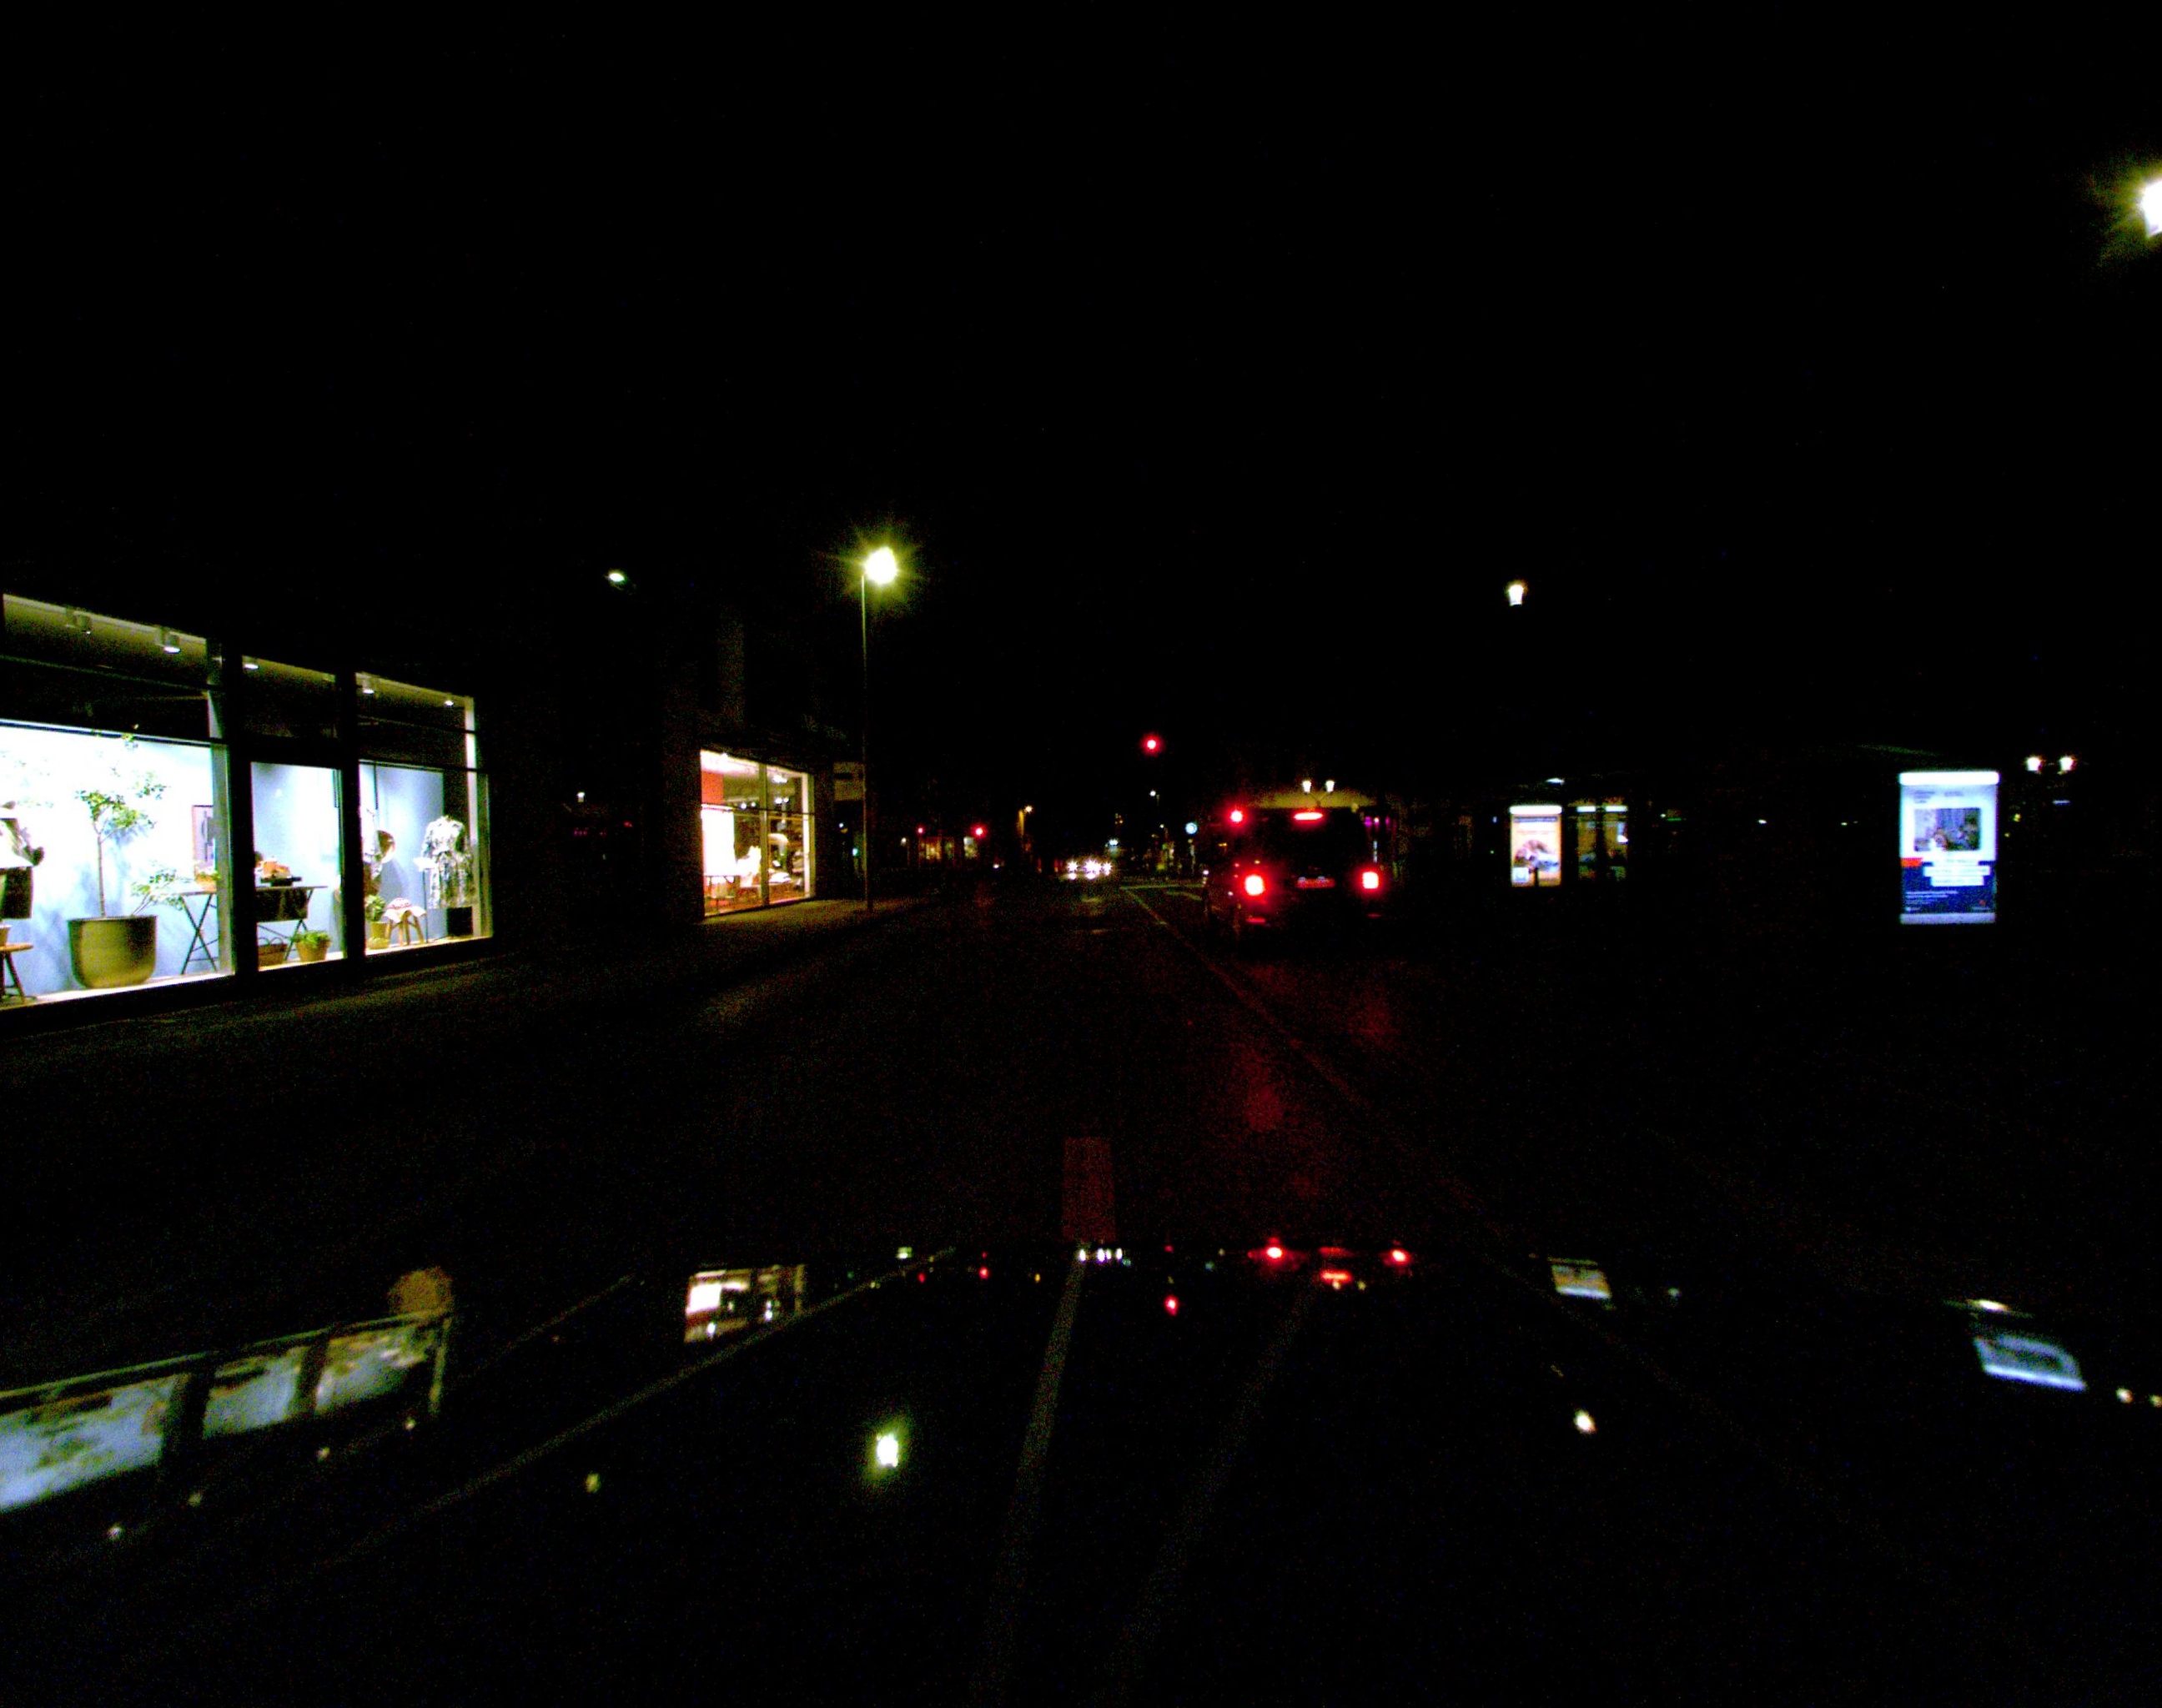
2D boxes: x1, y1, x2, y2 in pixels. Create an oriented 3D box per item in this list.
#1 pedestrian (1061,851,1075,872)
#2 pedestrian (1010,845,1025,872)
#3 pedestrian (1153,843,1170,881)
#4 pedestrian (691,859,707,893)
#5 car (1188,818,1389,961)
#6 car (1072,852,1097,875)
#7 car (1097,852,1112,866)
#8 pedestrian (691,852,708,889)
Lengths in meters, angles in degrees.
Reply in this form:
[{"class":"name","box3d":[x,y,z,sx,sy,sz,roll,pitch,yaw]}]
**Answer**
[{"class":"pedestrian","box3d":[-0.942,0.553,55.405,0.828,1.487,0.648,0,1,22]},{"class":"pedestrian","box3d":[-4.192,0.289,50.352,0.877,1.723,0.647,0,1,4]},{"class":"pedestrian","box3d":[3.607,0.367,33.913,0.539,1.672,0.648,-2,1,23]},{"class":"pedestrian","box3d":[-19.853,1.149,39.484,0.524,1.707,0.566,-2,1,-8]},{"class":"car","box3d":[3.092,0.439,12.489,1.971,1.861,4.911,-1,1,0]},{"class":"car","box3d":[0.270,0.704,60.190,1.713,1.660,3.738,-2,1,3]},{"class":"car","box3d":[3.252,0.645,104.866,1.879,1.718,3.999,-2,1,1]},{"class":"pedestrian","box3d":[-17.454,0.753,34.749,0.407,1.677,0.487,-2,1,5]}]
